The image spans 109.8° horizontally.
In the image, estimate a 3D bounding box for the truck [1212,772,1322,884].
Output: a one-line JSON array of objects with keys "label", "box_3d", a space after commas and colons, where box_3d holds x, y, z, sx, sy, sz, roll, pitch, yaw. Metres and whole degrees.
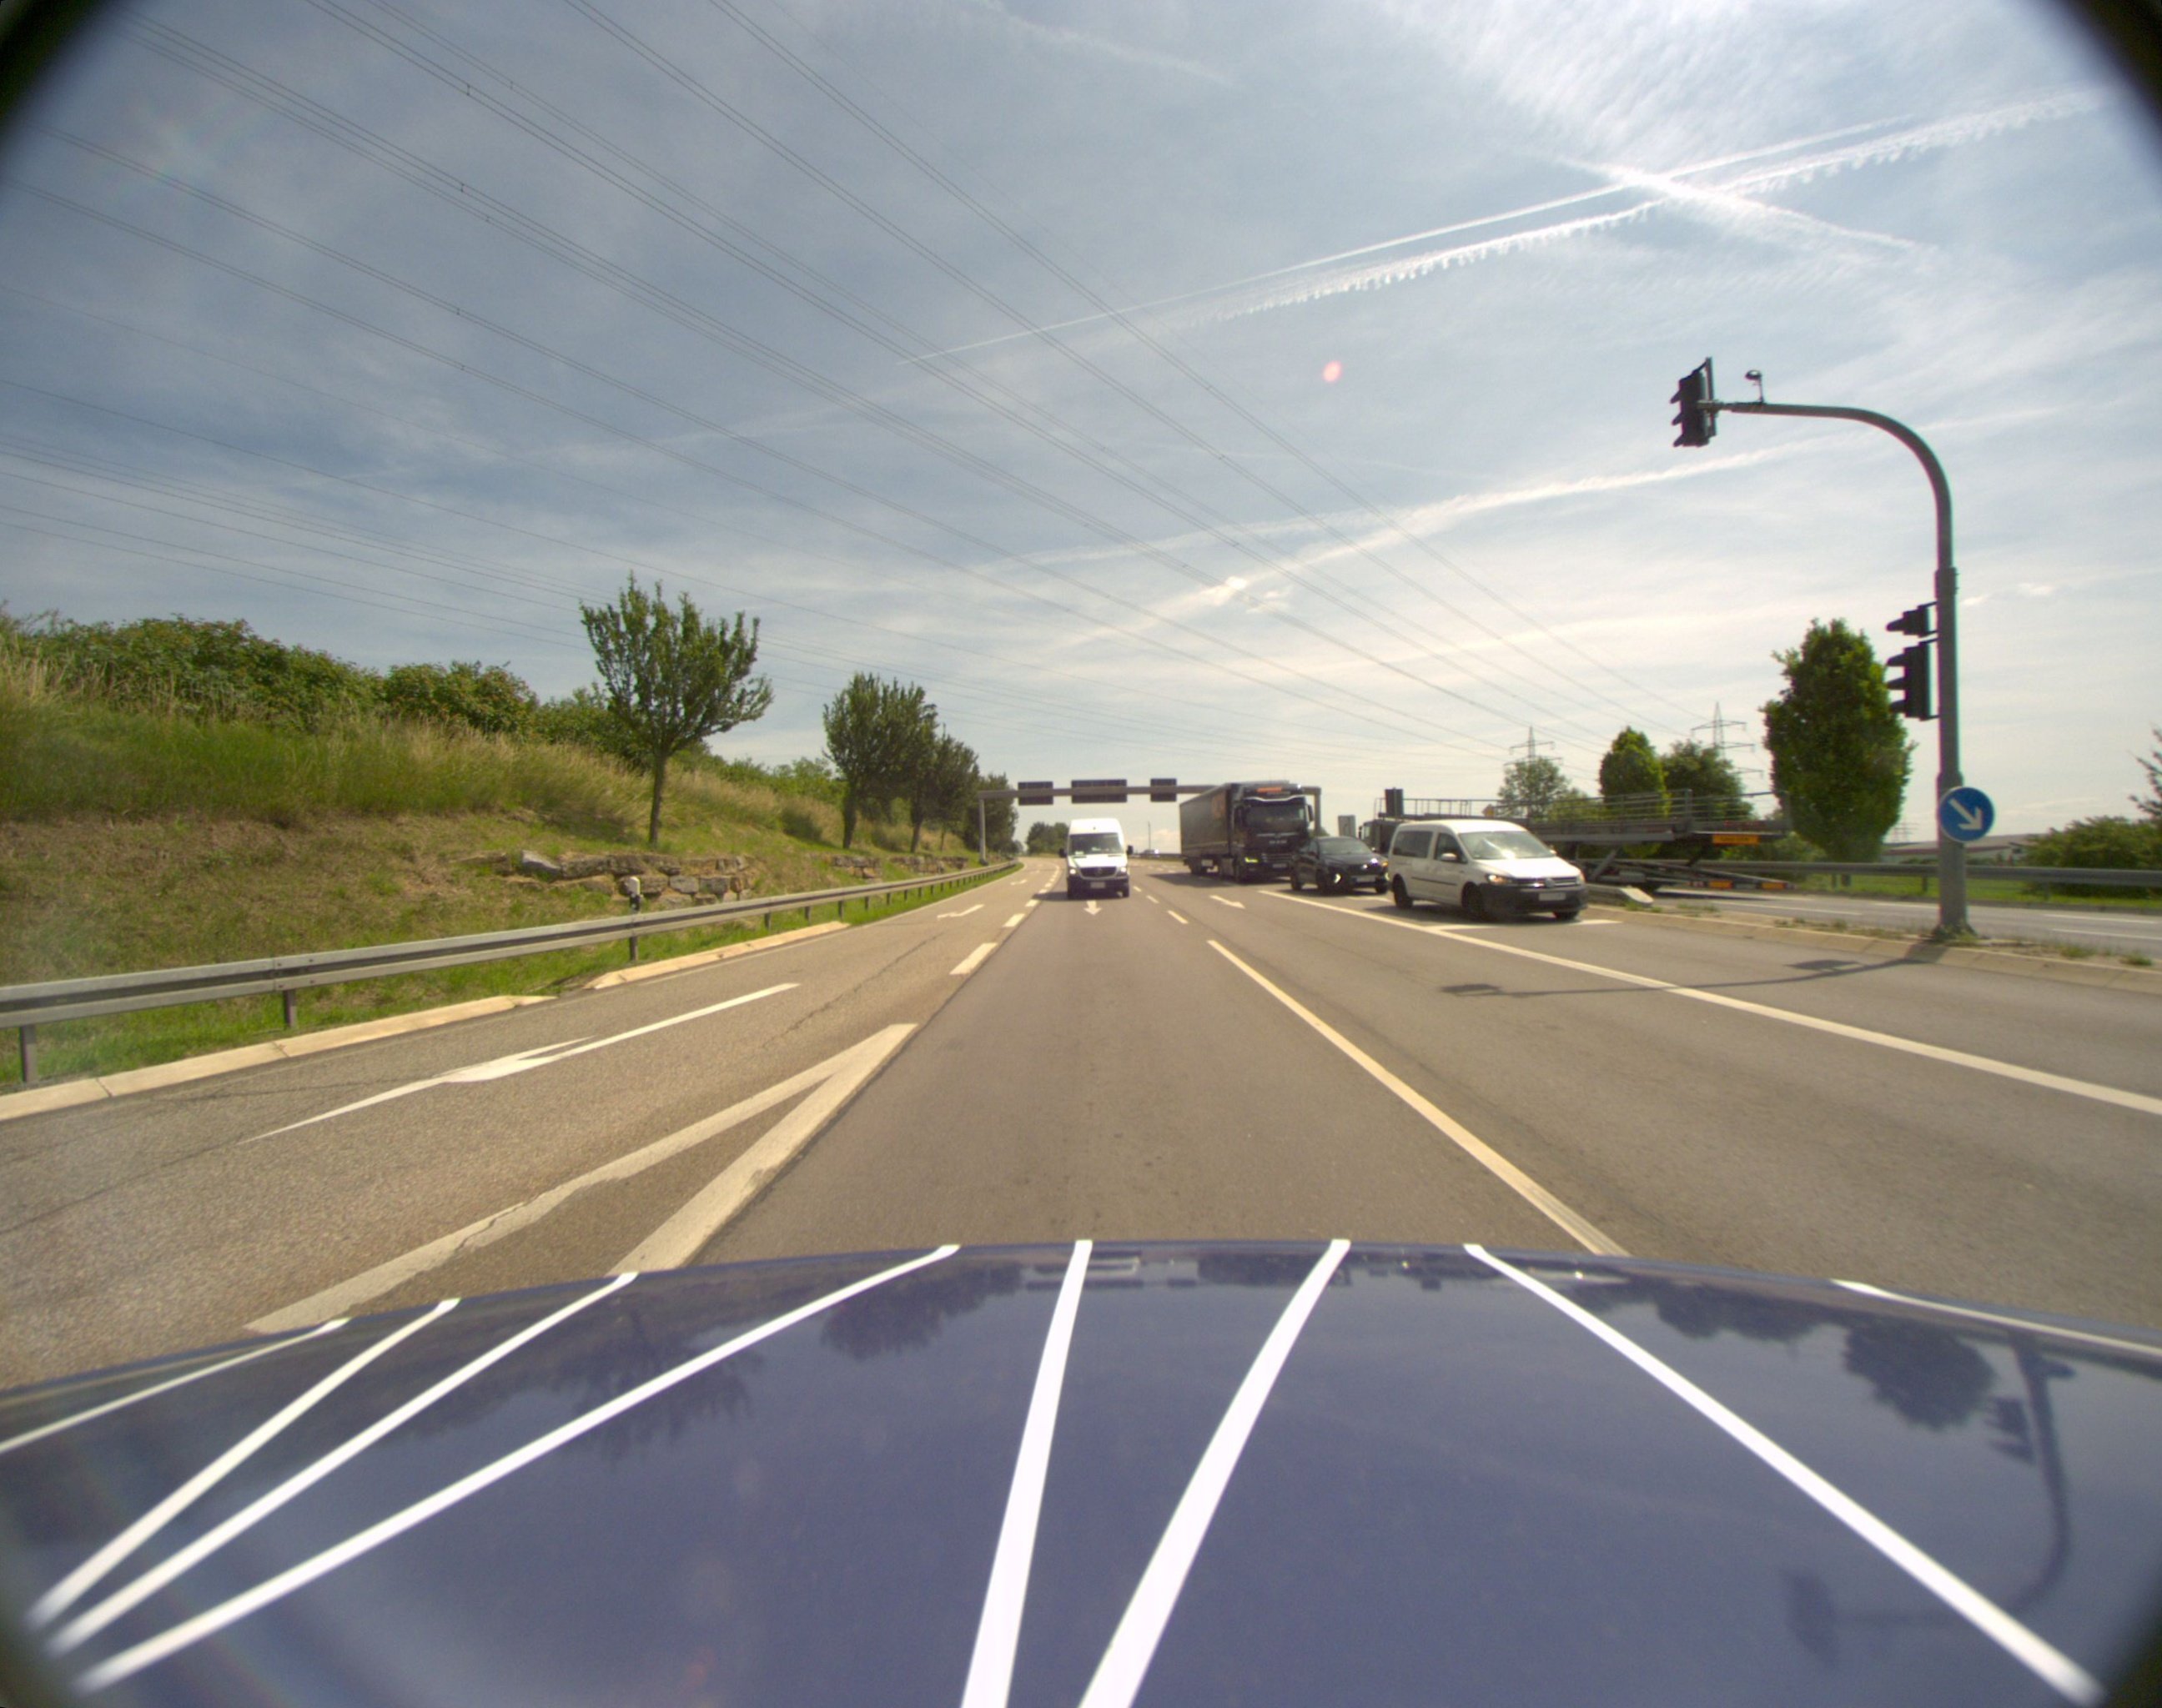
[{"label": "truck", "box_3d": [7.287, -0.984, 30.699, 2.790, 3.990, 5.969, -3, 1, -1]}]

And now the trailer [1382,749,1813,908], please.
[{"label": "trailer", "box_3d": [16.304, -0.824, 28.106, 2.646, 3.742, 19.794, -1, 1, 1]}]

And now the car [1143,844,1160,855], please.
[{"label": "car", "box_3d": [9.559, -0.654, 103.018, 1.740, 1.495, 4.323, 0, 1, -2]}]

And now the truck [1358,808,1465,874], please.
[{"label": "truck", "box_3d": [16.337, -0.655, 38.046, 2.806, 2.996, 5.988, -1, 1, 1]}]

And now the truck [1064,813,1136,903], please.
[{"label": "truck", "box_3d": [0.564, 0.077, 24.559, 1.998, 2.518, 5.104, -2, 1, 0]}]

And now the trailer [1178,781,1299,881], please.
[{"label": "trailer", "box_3d": [7.200, -1.004, 37.362, 2.790, 3.891, 13.783, -3, 1, -1]}]

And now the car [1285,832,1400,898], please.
[{"label": "car", "box_3d": [7.521, 0.269, 22.300, 1.860, 1.648, 4.348, -3, 1, 1]}]

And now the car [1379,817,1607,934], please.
[{"label": "car", "box_3d": [7.535, 0.316, 14.541, 1.772, 1.788, 4.751, -3, 1, 1]}]
